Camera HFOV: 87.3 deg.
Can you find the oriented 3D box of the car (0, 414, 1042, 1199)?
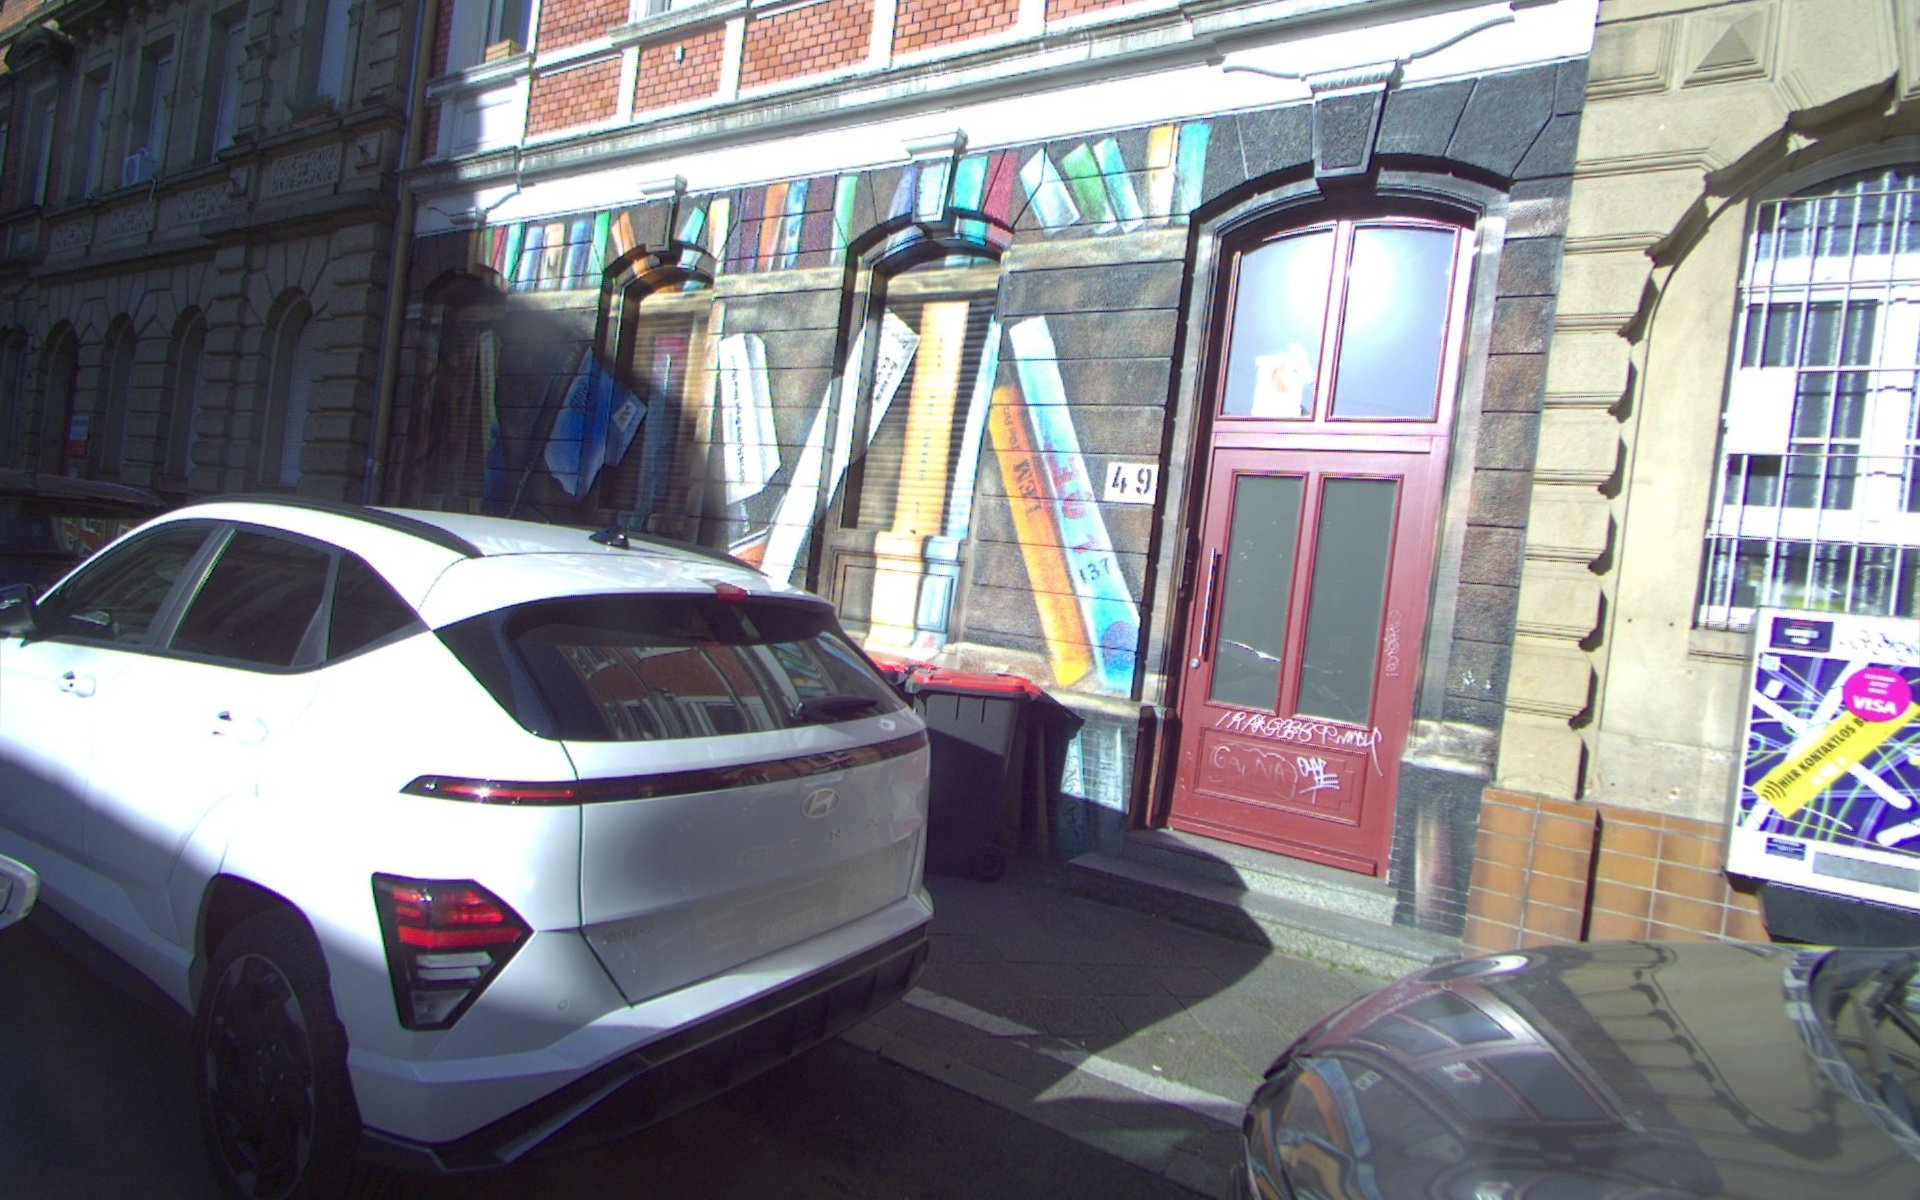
[{"bbox_3d":[-2.056,0.466,3.481,4.145,1.708,1.811,6,-3,33],"label":"car"}]

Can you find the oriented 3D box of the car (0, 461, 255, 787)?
[{"bbox_3d":[-6.385,-0.042,6.333,3.859,1.662,1.690,7,-1,32],"label":"car"}]

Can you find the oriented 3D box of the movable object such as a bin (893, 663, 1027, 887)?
[{"bbox_3d":[-0.007,0.928,5.485,0.592,1.067,0.549,6,3,-1],"label":"movable object such as a bin"}]

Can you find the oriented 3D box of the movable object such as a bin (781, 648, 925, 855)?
[{"bbox_3d":[-0.618,0.859,5.922,0.592,1.067,0.549,6,3,14],"label":"movable object such as a bin"}]

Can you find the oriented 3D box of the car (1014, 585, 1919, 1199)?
[{"bbox_3d":[2.093,1.041,0.970,3.840,1.542,1.577,7,-3,28],"label":"car"}]
